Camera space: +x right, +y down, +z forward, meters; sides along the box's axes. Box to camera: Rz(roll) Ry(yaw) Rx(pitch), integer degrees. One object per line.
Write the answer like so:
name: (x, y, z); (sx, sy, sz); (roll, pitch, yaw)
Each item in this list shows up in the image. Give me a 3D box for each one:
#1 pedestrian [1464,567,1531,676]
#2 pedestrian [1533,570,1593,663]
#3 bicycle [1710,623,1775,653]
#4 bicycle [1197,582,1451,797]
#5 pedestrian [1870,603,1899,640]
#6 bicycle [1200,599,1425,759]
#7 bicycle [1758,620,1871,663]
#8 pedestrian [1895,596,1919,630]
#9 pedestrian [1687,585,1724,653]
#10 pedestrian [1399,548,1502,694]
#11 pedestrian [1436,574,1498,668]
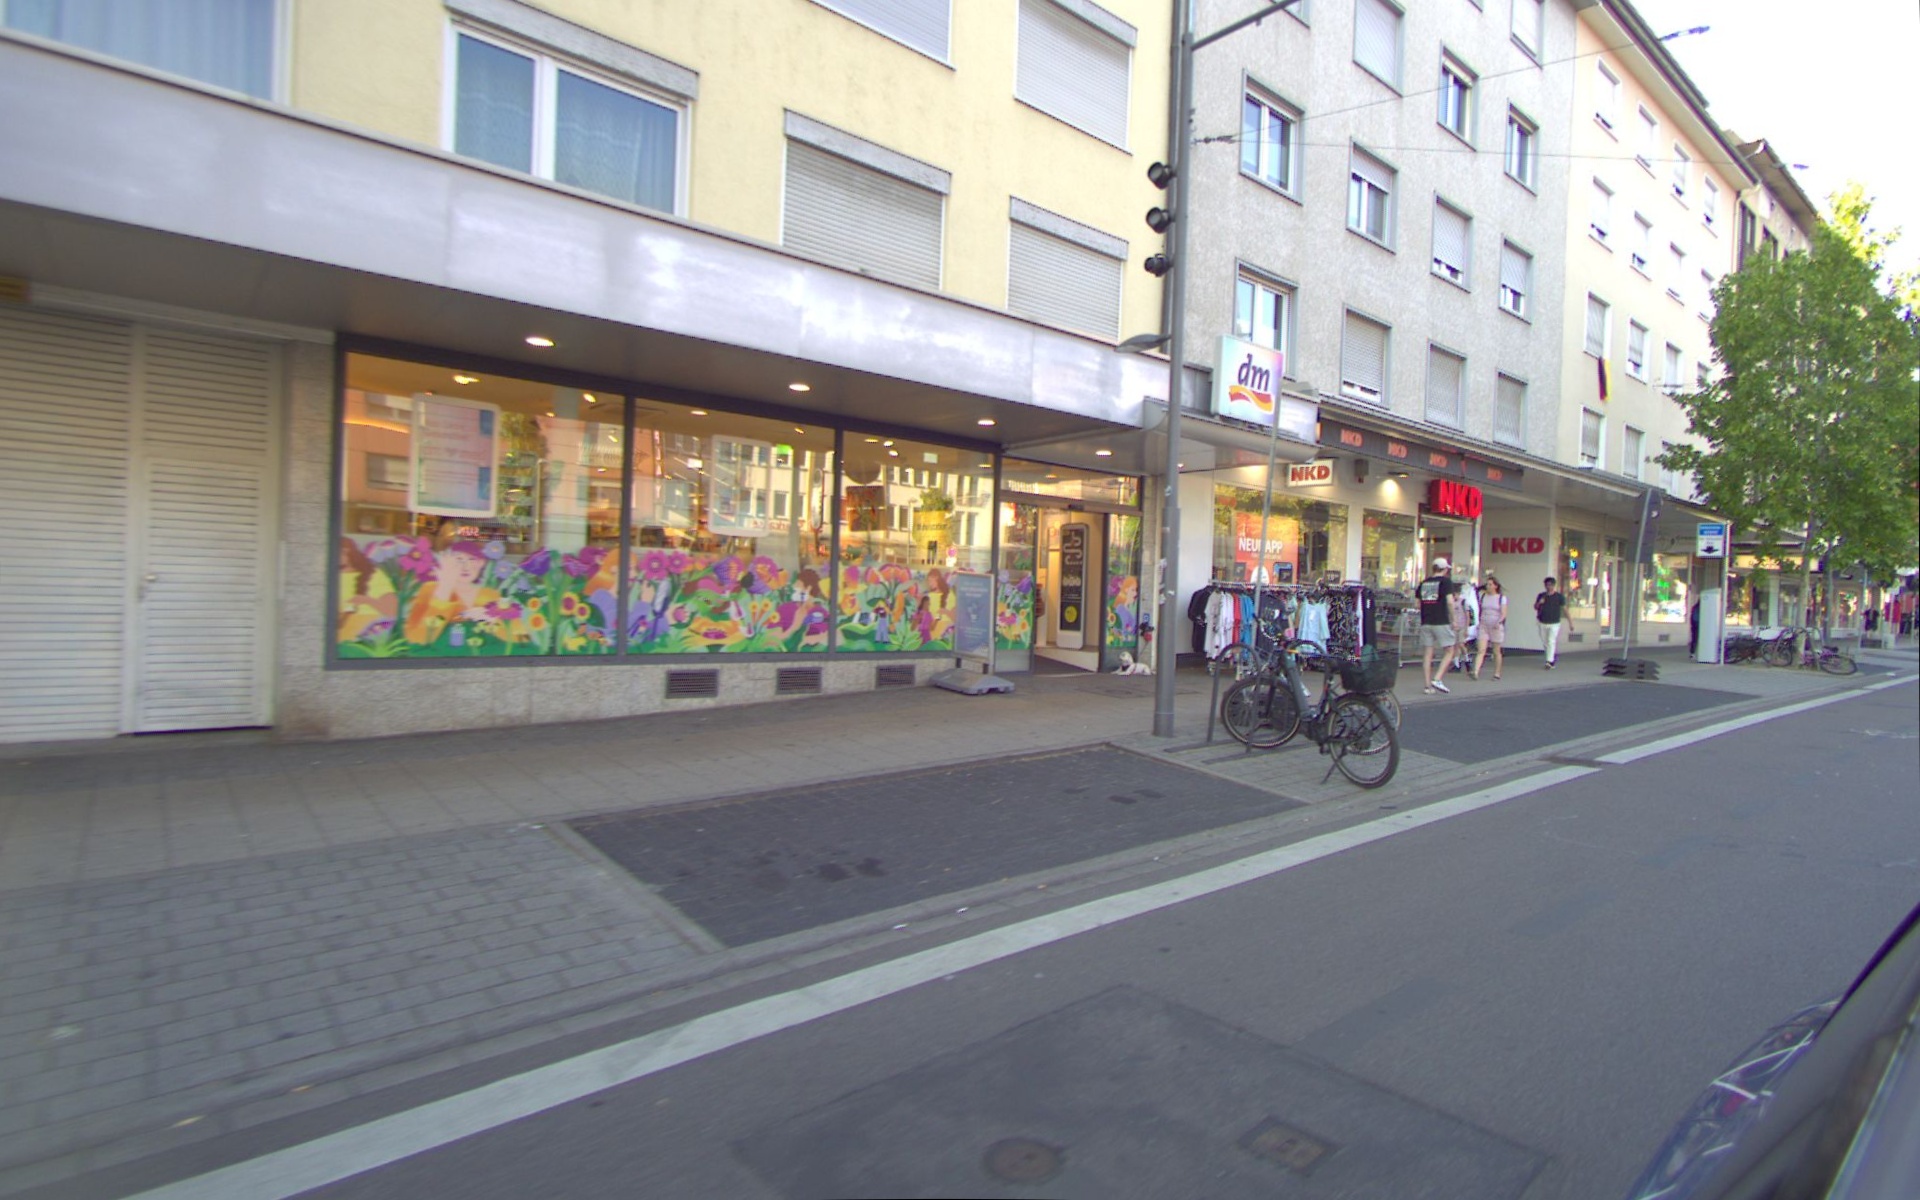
pedestrian: (8.447, 0.327, 15.896); (0.880, 1.649, 0.547); (2, 2, -40)
pedestrian: (11.419, 0.304, 19.159); (1.051, 1.695, 0.569); (1, 3, -40)
bicycle: (17.825, 0.854, 23.087); (0.831, 0.579, 1.744); (3, 2, 27)
bicycle: (2.835, 0.637, 8.124); (0.679, 1.326, 1.798); (2, 7, -28)
pedestrian: (42.158, 0.980, 46.159); (0.900, 1.675, 0.851); (0, 0, -40)
bicycle: (3.177, 0.666, 9.188); (1.773, 1.137, 0.659); (7, 5, 23)
bicycle: (18.618, 0.896, 22.095); (1.745, 0.788, 0.696); (3, 1, 28)
pedestrian: (48.000, 0.654, 51.271); (0.900, 1.675, 0.851); (0, 0, -40)
pedestrian: (17.967, 0.446, 24.386); (0.636, 1.587, 0.490); (1, 3, -39)
pedestrian: (6.489, 0.259, 13.390); (0.914, 1.821, 0.775); (1, 4, -39)
pedestrian: (8.488, 0.344, 16.938); (0.880, 1.520, 0.542); (2, 2, -40)
